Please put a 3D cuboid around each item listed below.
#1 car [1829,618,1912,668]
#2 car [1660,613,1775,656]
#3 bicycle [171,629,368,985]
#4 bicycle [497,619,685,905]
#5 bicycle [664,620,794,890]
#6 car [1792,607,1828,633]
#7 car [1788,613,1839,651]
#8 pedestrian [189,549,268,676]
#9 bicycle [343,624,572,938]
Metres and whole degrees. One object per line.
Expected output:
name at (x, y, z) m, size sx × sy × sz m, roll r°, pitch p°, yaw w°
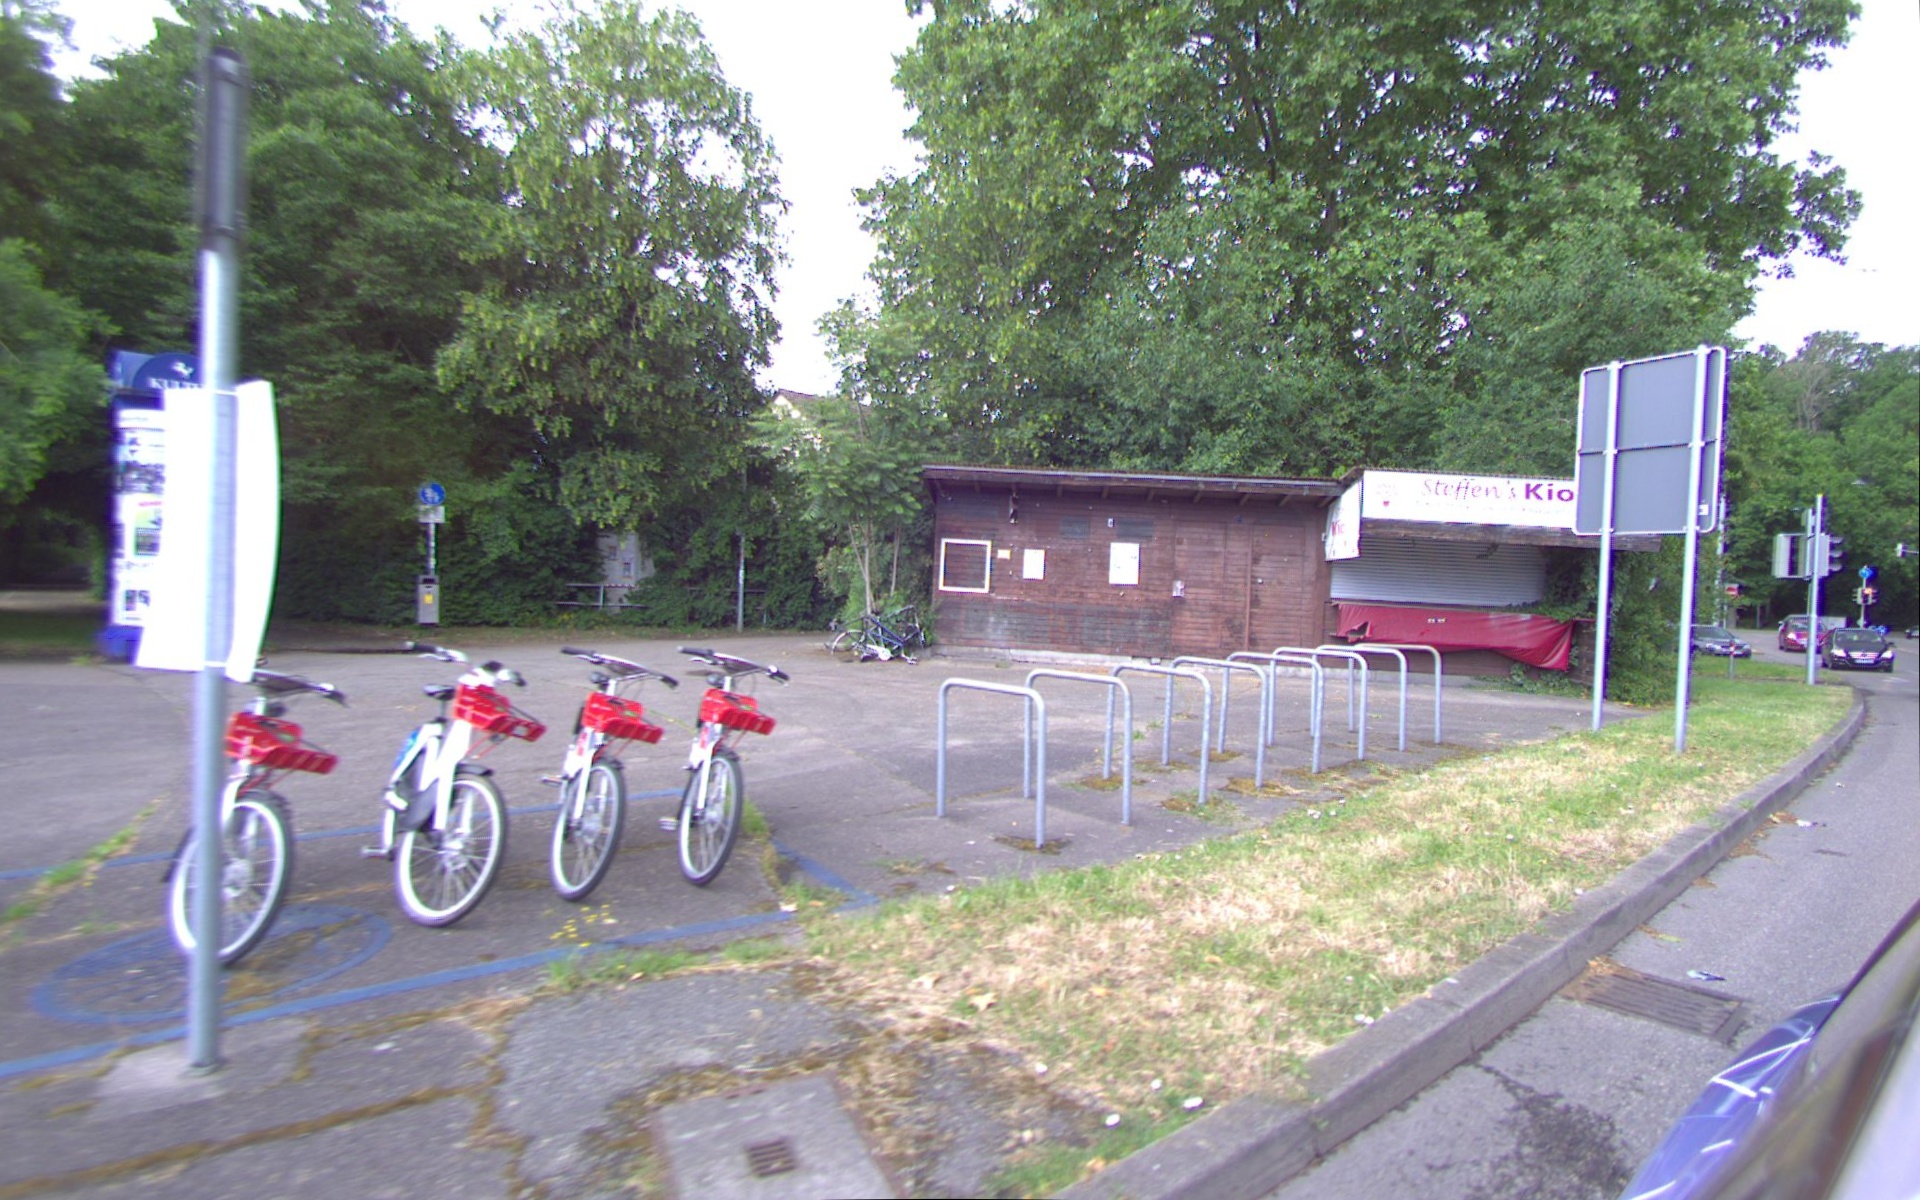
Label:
car at (33.894, 1.567, 37.782) m, size 1.721 × 1.539 × 3.950 m, roll 4°, pitch 3°, yaw 35°
car at (29.163, 1.289, 39.136) m, size 1.704 × 1.447 × 4.103 m, roll 2°, pitch 0°, yaw 7°
bicycle at (-3.037, 0.748, 4.378) m, size 0.531 × 1.124 × 1.782 m, roll -1°, pitch 2°, yaw -40°
bicycle at (-1.936, 0.704, 5.156) m, size 0.446 × 1.124 × 1.785 m, roll 1°, pitch 2°, yaw -35°
bicycle at (-1.310, 0.728, 5.530) m, size 0.417 × 1.124 × 1.788 m, roll 1°, pitch 2°, yaw -21°
car at (58.007, 1.334, 69.058) m, size 1.777 × 1.588 × 3.941 m, roll 4°, pitch 3°, yaw 40°
car at (43.505, 1.608, 51.657) m, size 1.667 × 1.661 × 4.046 m, roll 4°, pitch 3°, yaw 37°
pedestrian at (-9.246, 0.146, 12.788) m, size 0.764 × 1.550 × 0.512 m, roll 1°, pitch 1°, yaw -39°
bicycle at (-2.448, 0.726, 4.813) m, size 0.569 × 1.125 × 1.782 m, roll 1°, pitch 1°, yaw -40°
